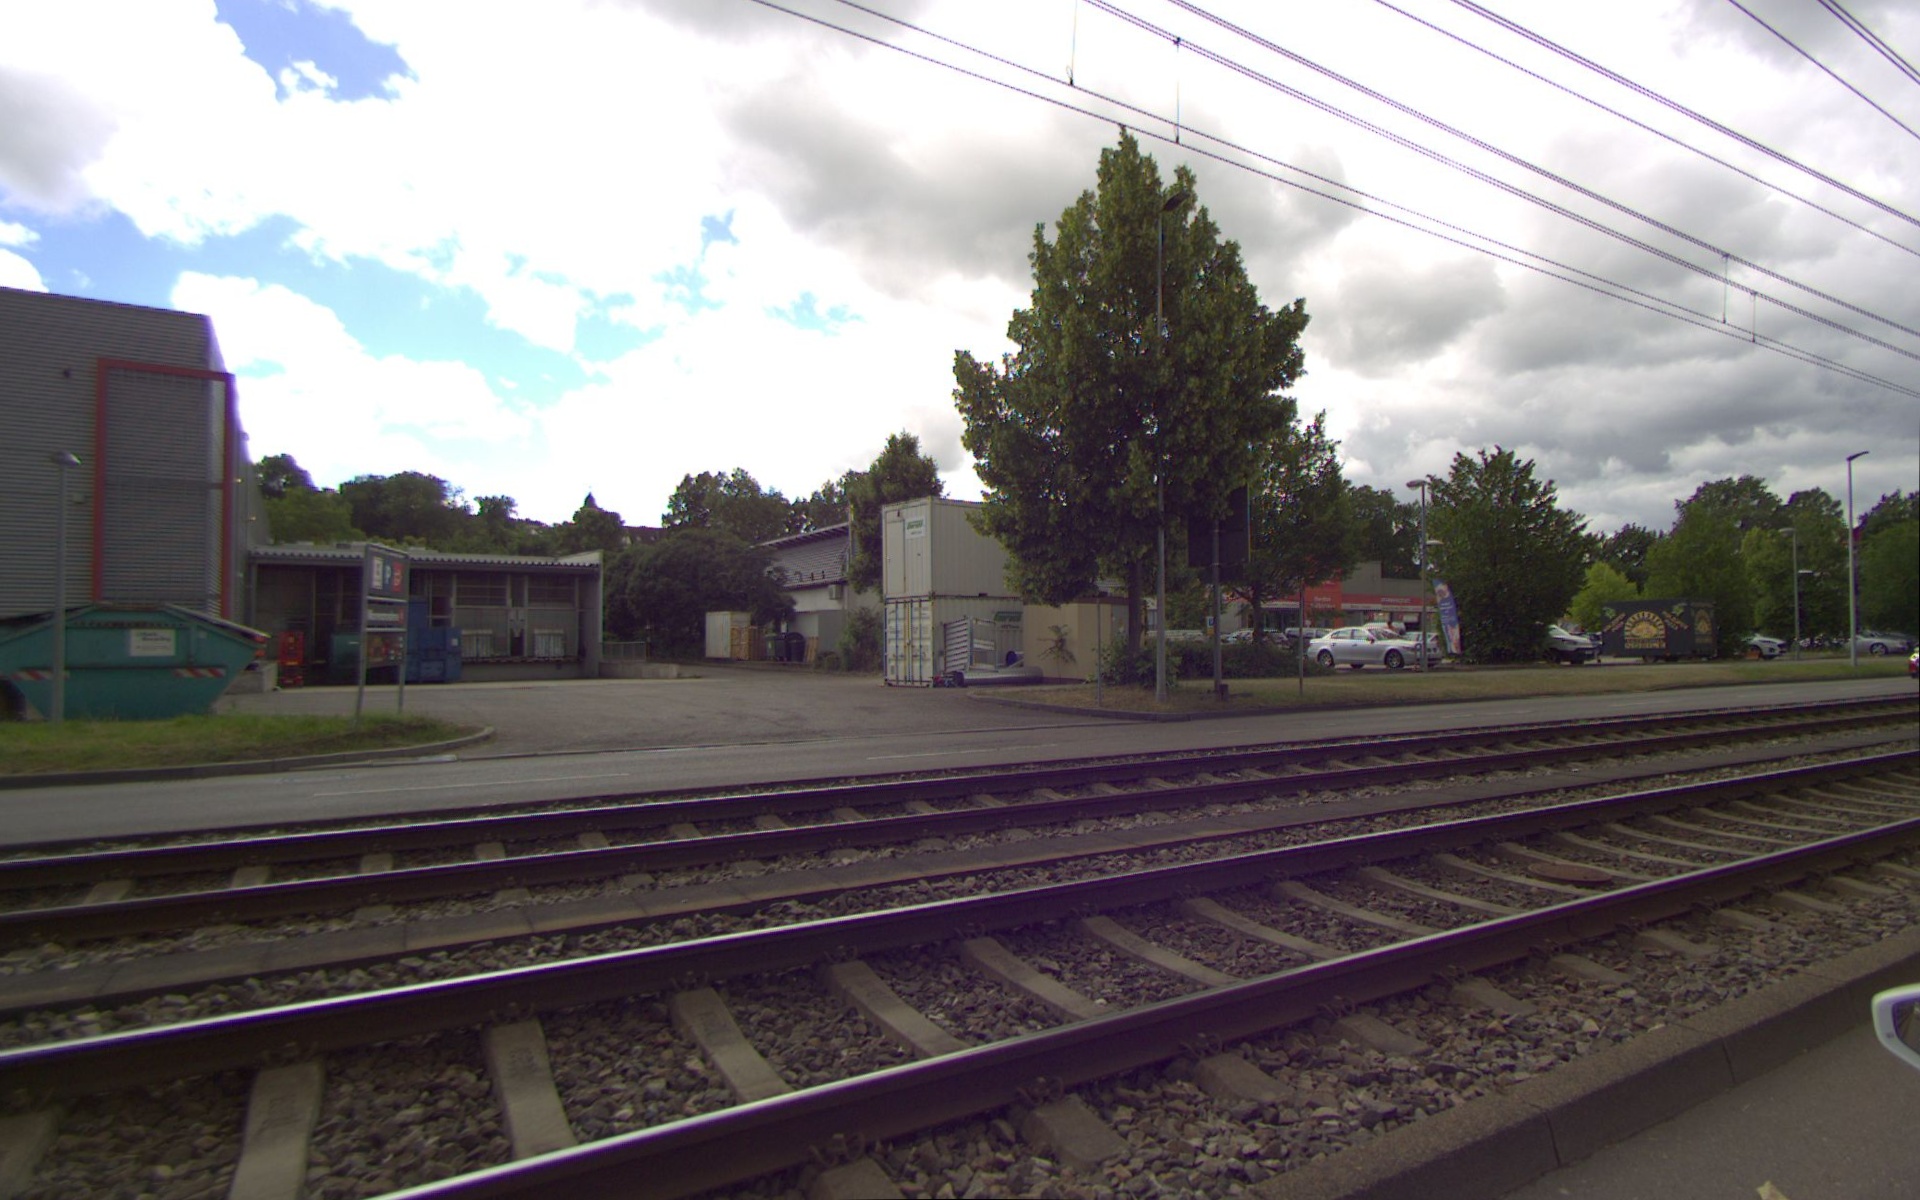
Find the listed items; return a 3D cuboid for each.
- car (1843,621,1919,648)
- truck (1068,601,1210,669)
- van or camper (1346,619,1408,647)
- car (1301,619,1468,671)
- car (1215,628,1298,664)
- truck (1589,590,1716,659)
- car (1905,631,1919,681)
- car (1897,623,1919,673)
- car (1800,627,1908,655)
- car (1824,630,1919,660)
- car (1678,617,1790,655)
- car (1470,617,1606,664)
[{"bbox_3d":[56.661,2.114,61.184,1.859,1.620,3.963,1,-2,-34],"label":"car"},{"bbox_3d":[6.711,1.303,37.522,5.202,2.414,1.984,1,-2,-30],"label":"truck"},{"bbox_3d":[32.625,2.594,78.656,1.803,2.173,4.235,1,-2,-34],"label":"van or camper"},{"bbox_3d":[14.674,1.529,35.017,2.619,1.650,4.761,0,-2,-29],"label":"car"},{"bbox_3d":[14.046,2.161,47.800,1.669,1.617,3.979,0,-2,-23],"label":"car"},{"bbox_3d":[30.393,1.116,44.153,2.350,2.859,3.966,1,-2,-32],"label":"truck"},{"bbox_3d":[29.252,1.559,28.974,4.393,1.419,1.751,1,-4,-31],"label":"car"},{"bbox_3d":[36.231,1.724,36.809,3.956,1.795,1.782,1,-2,-32],"label":"car"},{"bbox_3d":[50.521,2.306,56.852,1.662,1.491,4.284,1,-2,-32],"label":"car"},{"bbox_3d":[52.802,2.589,58.097,1.859,1.656,3.963,1,-2,-34],"label":"car"},{"bbox_3d":[38.041,1.780,49.459,1.859,1.821,3.963,1,-2,-34],"label":"car"},{"bbox_3d":[22.660,1.579,39.541,1.973,1.750,4.199,1,-2,-31],"label":"car"}]
